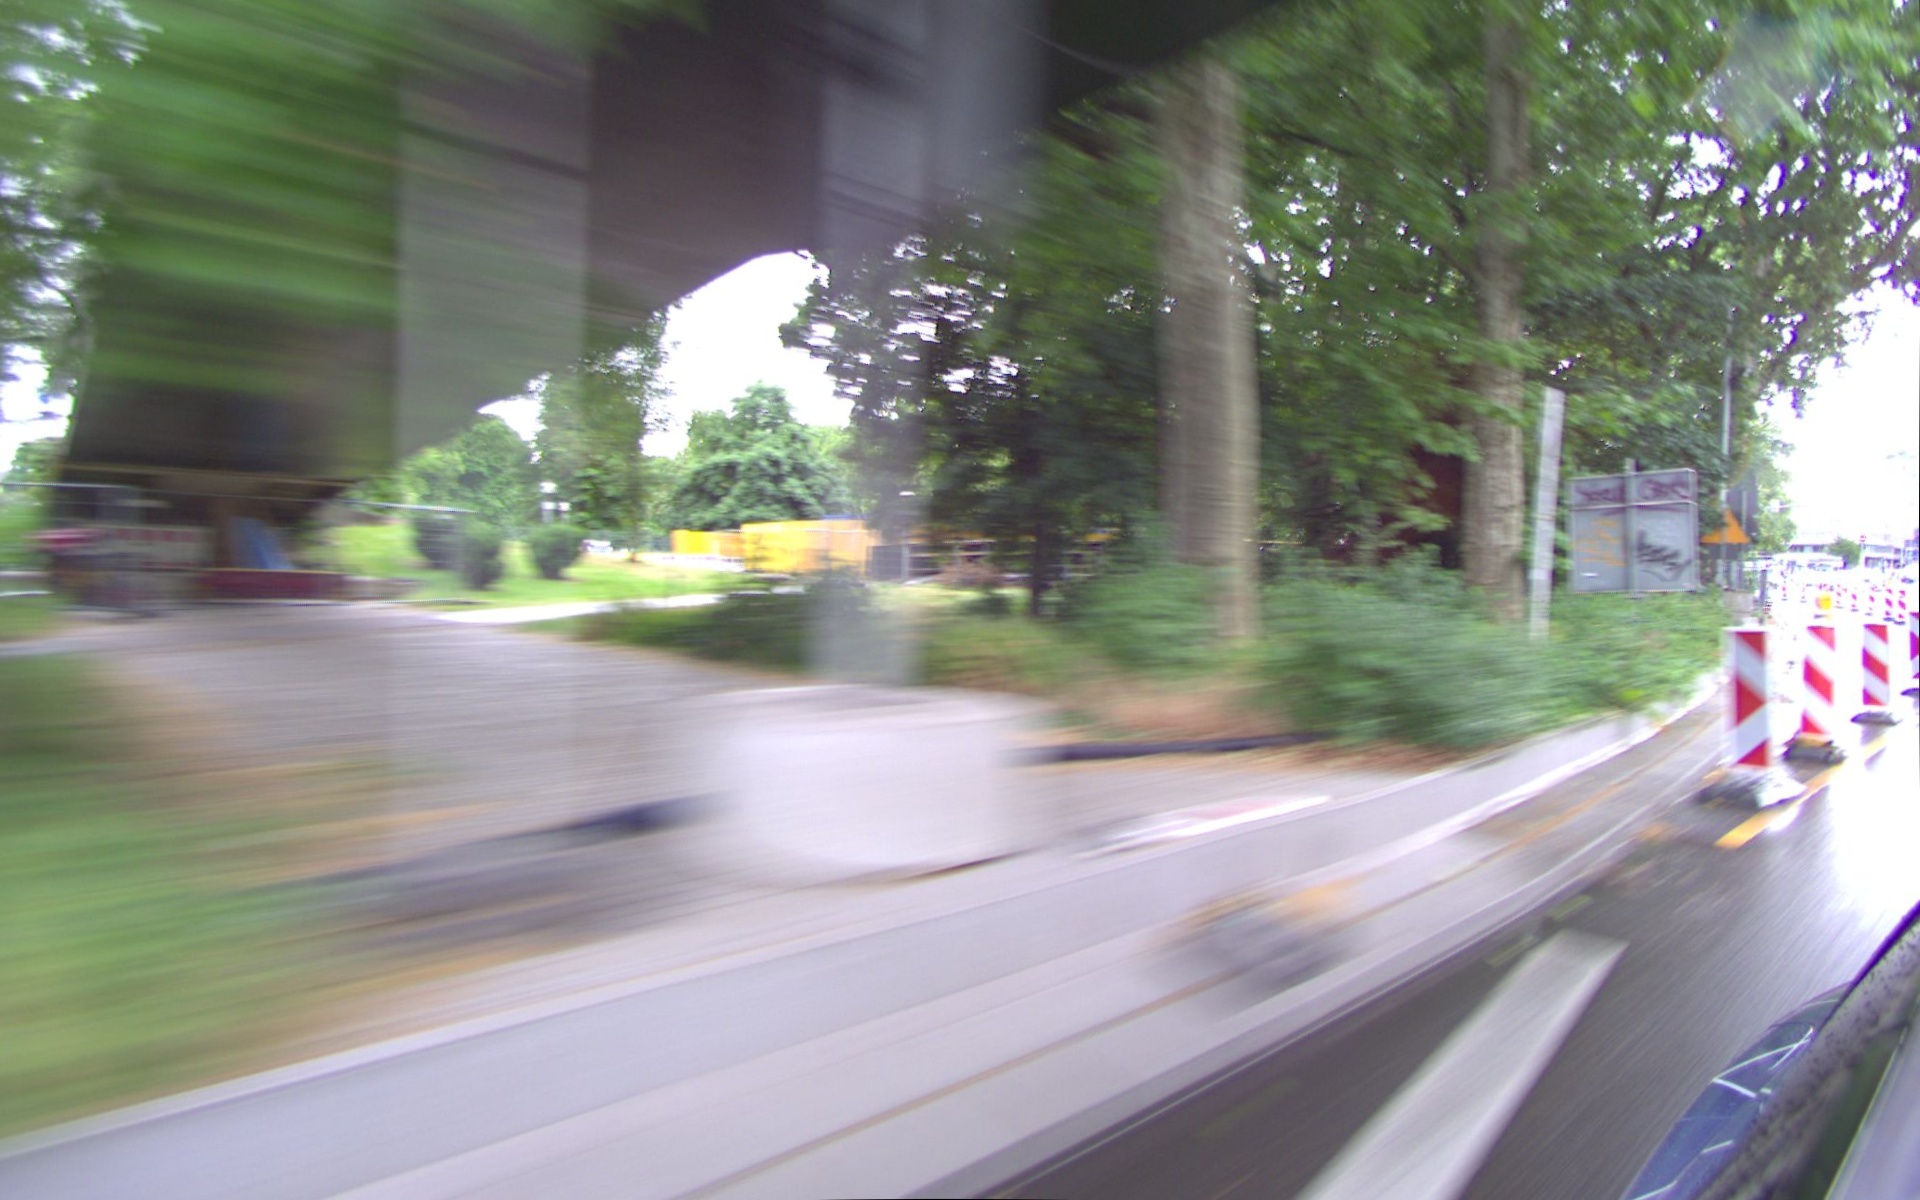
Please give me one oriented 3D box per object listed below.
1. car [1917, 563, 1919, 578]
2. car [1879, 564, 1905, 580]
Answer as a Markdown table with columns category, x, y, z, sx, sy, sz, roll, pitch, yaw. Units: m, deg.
| category | x | y | z | sx | sy | sz | roll | pitch | yaw |
| --- | --- | --- | --- | --- | --- | --- | --- | --- | --- |
| car | 112.965 | -3.391 | 117.816 | 1.825 | 1.672 | 4.509 | 3 | 4 | 40 |
| car | 110.851 | -3.357 | 120.424 | 1.992 | 1.836 | 4.232 | 3 | 4 | 40 |
